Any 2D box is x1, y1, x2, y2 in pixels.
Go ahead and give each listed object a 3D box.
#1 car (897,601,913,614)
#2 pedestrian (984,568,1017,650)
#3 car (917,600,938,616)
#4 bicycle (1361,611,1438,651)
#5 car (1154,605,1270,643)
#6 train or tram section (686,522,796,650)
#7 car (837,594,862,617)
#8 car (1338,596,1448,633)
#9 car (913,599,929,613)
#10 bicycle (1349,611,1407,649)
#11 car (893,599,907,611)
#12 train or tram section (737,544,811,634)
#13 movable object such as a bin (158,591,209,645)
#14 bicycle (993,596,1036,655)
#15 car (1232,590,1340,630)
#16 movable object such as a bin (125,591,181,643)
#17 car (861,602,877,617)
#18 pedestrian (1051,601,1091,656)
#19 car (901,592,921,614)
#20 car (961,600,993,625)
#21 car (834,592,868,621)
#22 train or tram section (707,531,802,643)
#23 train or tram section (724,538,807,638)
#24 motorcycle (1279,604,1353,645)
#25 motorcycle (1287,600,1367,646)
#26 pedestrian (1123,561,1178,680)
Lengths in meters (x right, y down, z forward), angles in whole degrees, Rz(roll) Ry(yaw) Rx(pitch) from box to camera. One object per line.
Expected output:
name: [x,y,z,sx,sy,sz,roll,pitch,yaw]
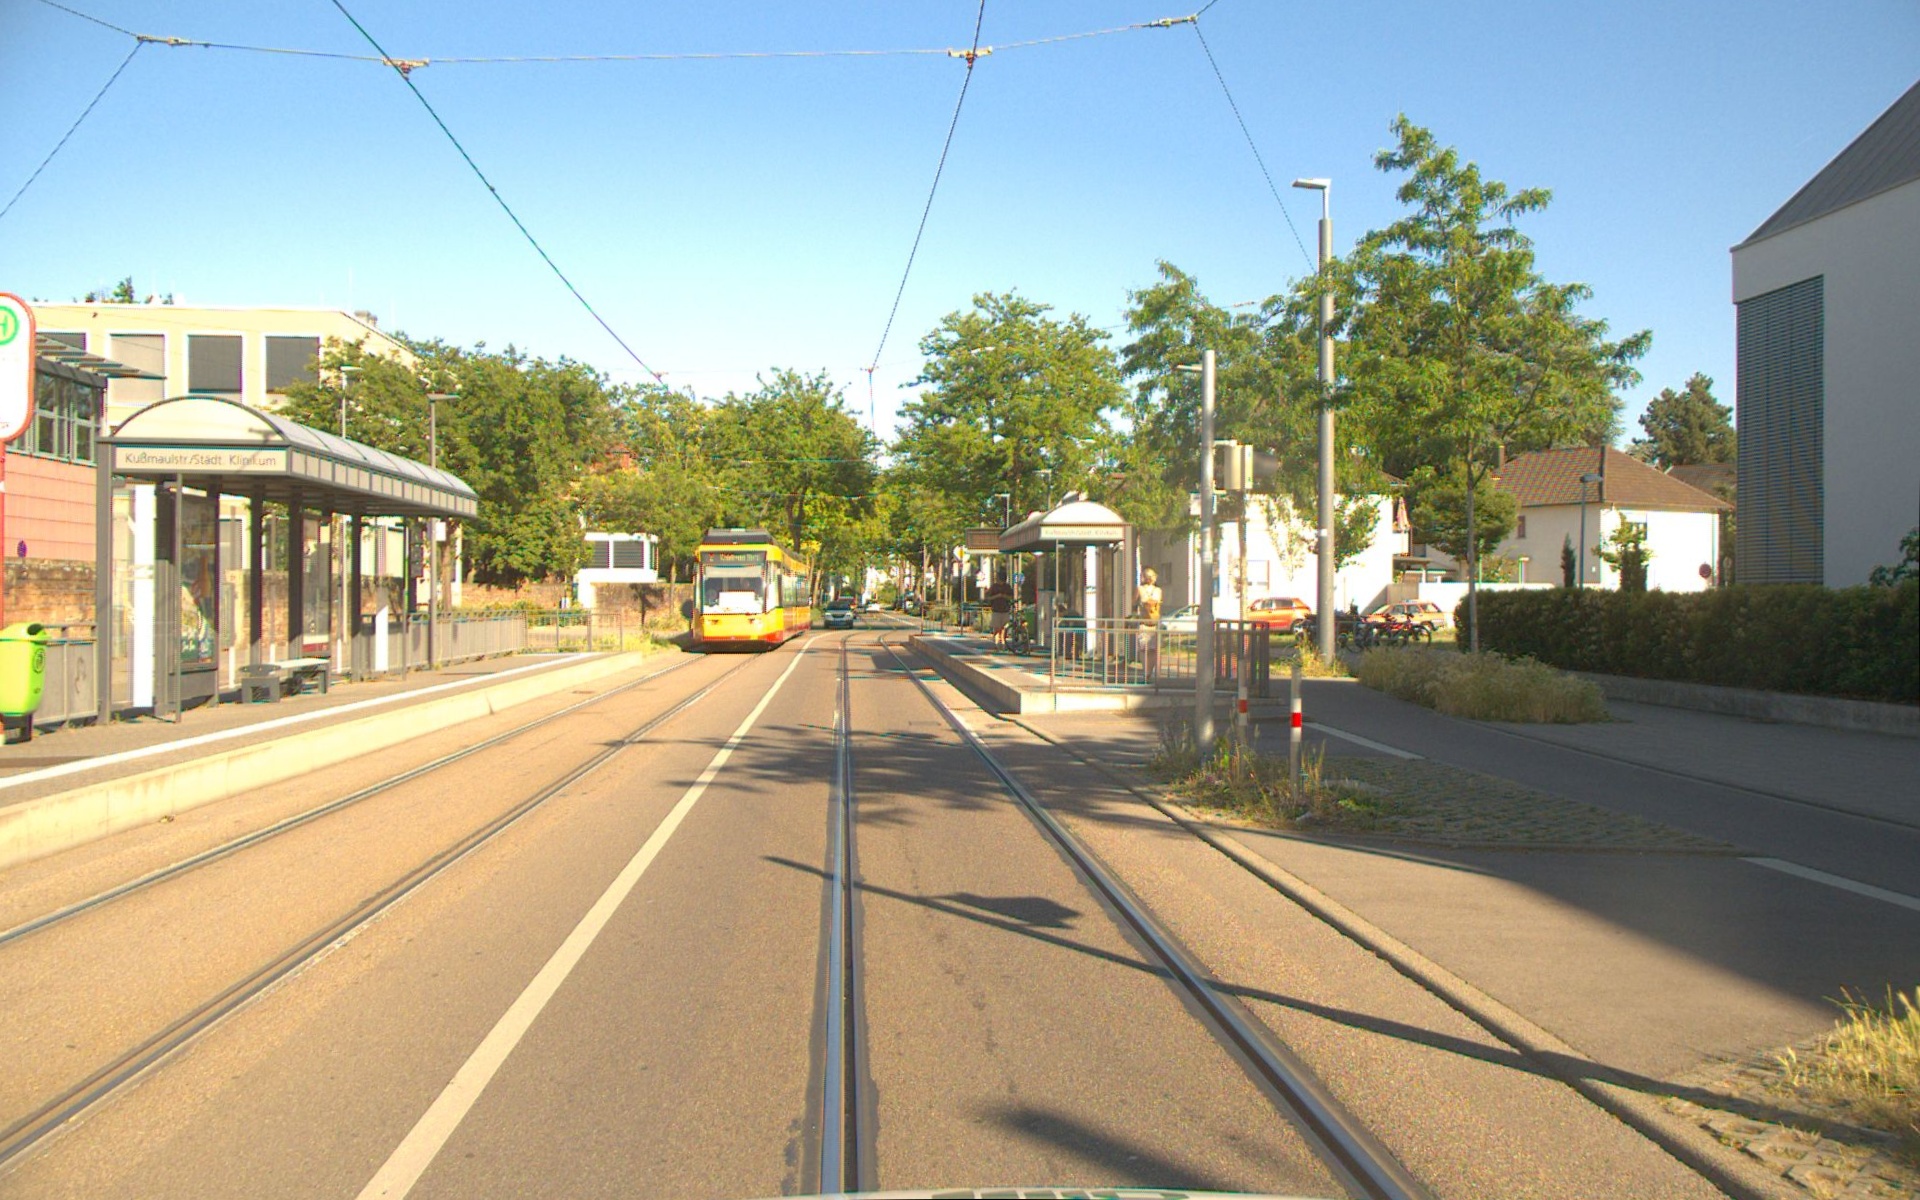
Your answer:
car: [-7.846,1.033,235.388,1.963,1.704,4.388,-2,0,-4]
pedestrian: [0.940,0.208,38.595,0.696,1.886,0.729,1,0,-3]
car: [-3.429,0.815,172.263,1.750,1.473,4.296,-3,0,-6]
bicycle: [11.208,0.793,42.213,1.863,0.996,0.490,0,0,-11]
car: [10.209,1.006,67.289,4.506,1.492,1.983,0,-2,4]
train or tram section: [-6.348,-0.391,48.792,2.748,3.520,6.663,0,0,-4]
car: [-9.854,0.465,147.415,1.955,2.000,4.927,0,0,-7]
car: [18.433,0.607,70.472,4.087,1.534,1.977,0,0,-11]
car: [-4.288,0.692,181.957,1.595,1.422,3.642,-3,0,-4]
bicycle: [11.034,0.788,43.689,1.443,0.996,0.415,0,0,-11]
car: [-9.113,0.785,252.781,1.962,1.704,4.392,-2,0,0]
train or tram section: [-7.655,-0.445,68.804,2.748,3.520,6.663,0,0,-4]
movable object such as a bin: [-21.259,0.486,45.290,0.864,1.472,1.308,0,0,-5]
bicycle: [1.185,0.554,36.214,0.608,1.251,1.963,1,0,-8]
car: [13.735,0.410,69.738,4.082,1.671,1.980,0,0,-6]
movable object such as a bin: [-20.463,0.427,41.965,0.864,1.307,1.308,0,0,-6]
car: [-10.796,1.084,196.379,1.829,1.704,4.169,-1,0,-4]
pedestrian: [2.352,0.604,35.056,0.723,1.137,0.658,1,0,-5]
car: [-5.995,0.381,203.045,2.201,2.700,5.580,0,0,-4]
car: [1.059,0.790,107.414,1.714,1.521,4.439,-1,0,-4]
car: [-6.521,0.363,99.310,1.728,1.693,4.210,0,0,1]
train or tram section: [-6.791,-0.412,55.466,2.748,3.520,6.663,0,0,-4]
train or tram section: [-7.234,-0.425,62.141,2.748,3.520,6.663,0,0,-4]
motorcycle: [10.471,0.726,48.699,1.962,1.178,0.860,0,0,-11]
motorcycle: [10.440,0.643,47.087,2.040,1.296,0.860,0,0,-11]
pedestrian: [2.825,0.298,24.560,0.658,1.734,0.690,1,0,-5]
